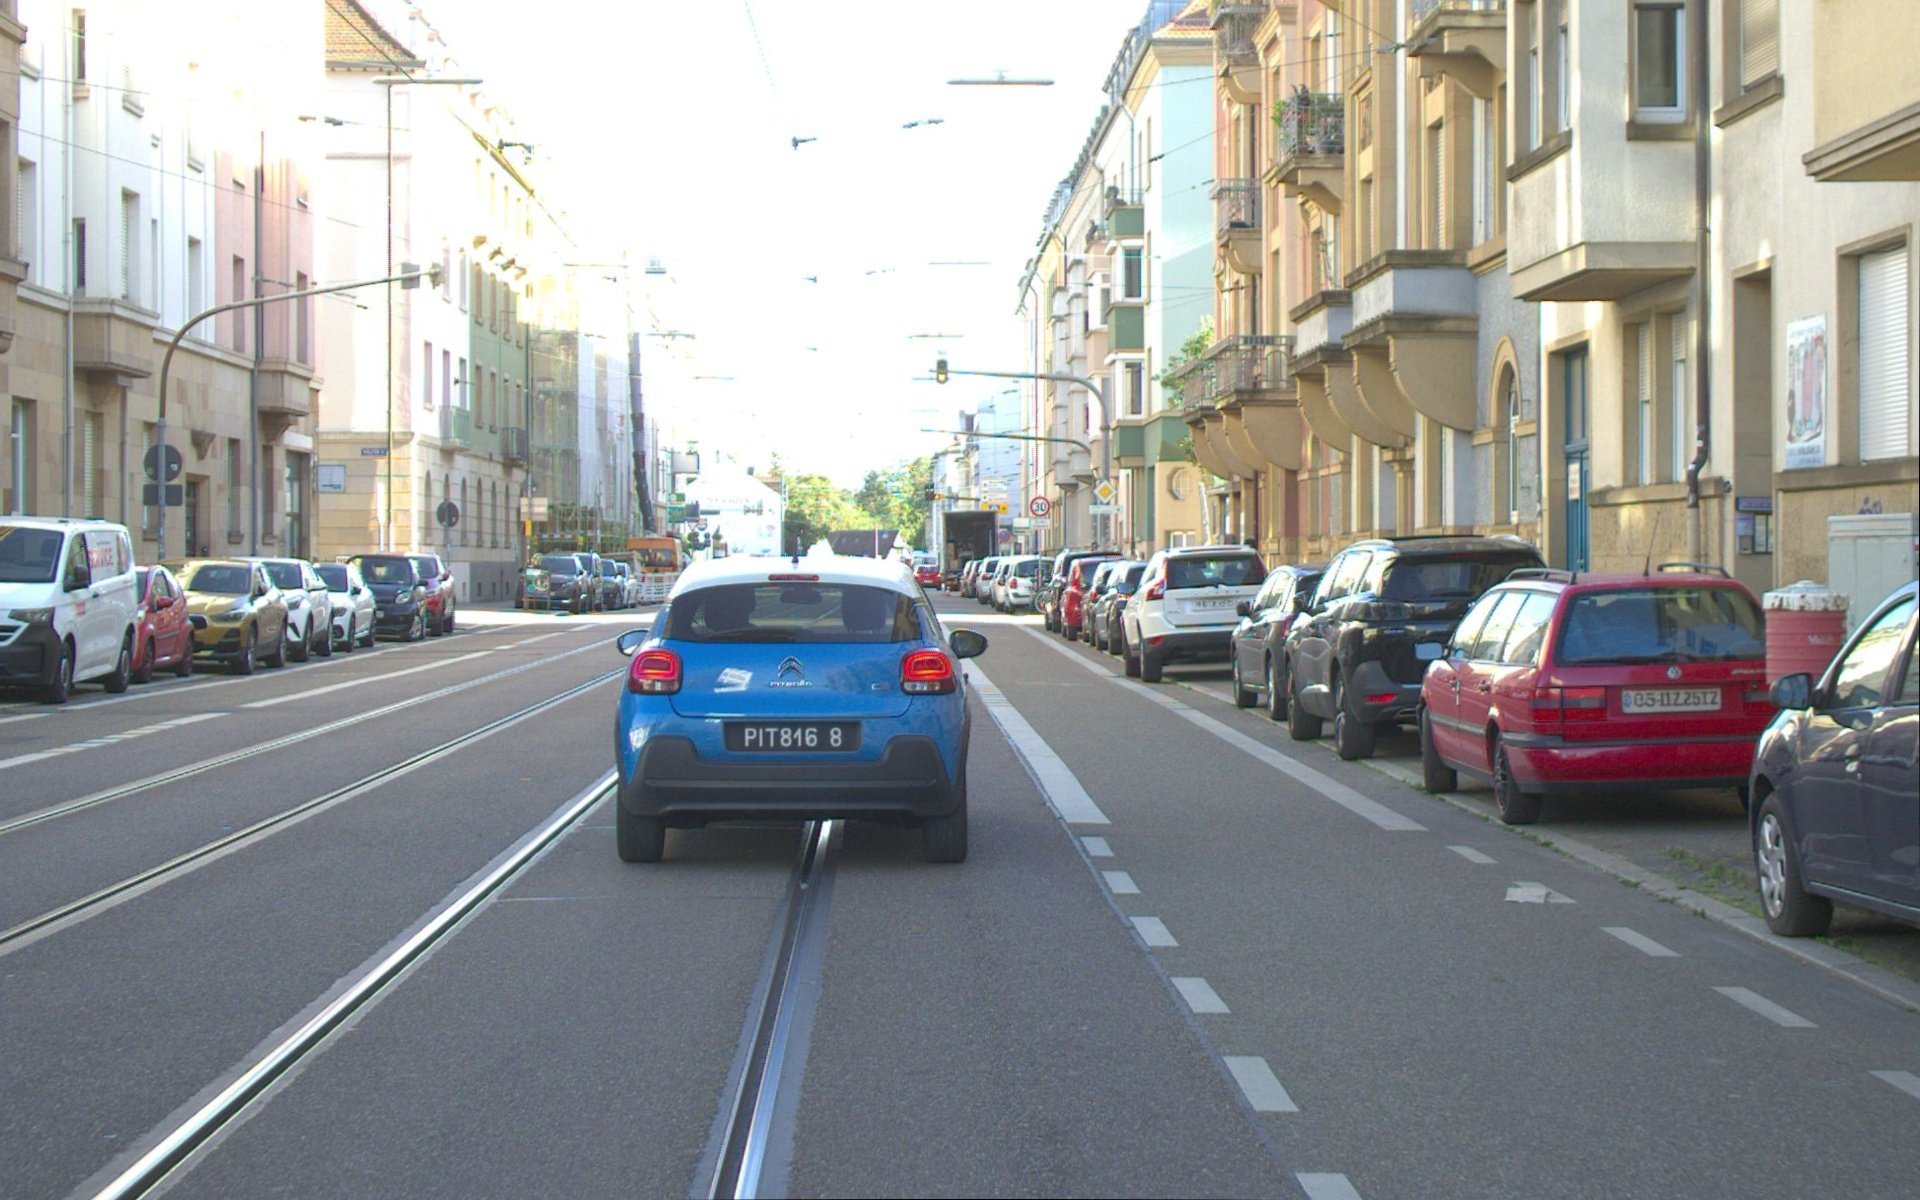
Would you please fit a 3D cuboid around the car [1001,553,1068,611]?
[{"bbox_3d":[2.120,-0.537,98.894,1.783,1.626,4.000,0,1,-1],"label":"car"}]

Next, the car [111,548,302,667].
[{"bbox_3d":[-10.347,0.069,47.475,1.783,1.518,4.360,2,1,-2],"label":"car"}]

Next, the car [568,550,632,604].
[{"bbox_3d":[-11.542,-0.759,110.488,1.783,1.621,4.610,2,1,-3],"label":"car"}]

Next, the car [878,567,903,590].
[{"bbox_3d":[-5.172,-1.611,255.951,1.826,1.626,4.490,0,1,-1],"label":"car"}]

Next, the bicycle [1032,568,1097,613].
[{"bbox_3d":[2.908,-0.275,95.639,1.722,1.150,0.469,-3,1,0],"label":"bicycle"}]

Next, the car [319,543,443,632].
[{"bbox_3d":[-10.710,-0.243,63.744,1.783,1.547,3.019,2,1,-1],"label":"car"}]

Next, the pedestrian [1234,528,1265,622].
[{"bbox_3d":[5.147,-0.447,61.147,0.513,1.681,0.448,0,1,-1],"label":"pedestrian"}]

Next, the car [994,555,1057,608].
[{"bbox_3d":[1.973,-0.570,104.333,1.783,1.570,4.326,0,1,-1],"label":"car"}]

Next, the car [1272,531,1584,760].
[{"bbox_3d":[3.602,0.299,27.240,1.859,1.660,4.562,0,1,0],"label":"car"}]

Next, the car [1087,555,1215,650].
[{"bbox_3d":[3.042,0.008,55.588,1.654,1.478,4.475,0,1,-2],"label":"car"}]

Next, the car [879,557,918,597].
[{"bbox_3d":[-2.941,-1.113,164.860,1.821,1.888,4.000,1,1,-1],"label":"car"}]

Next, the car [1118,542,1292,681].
[{"bbox_3d":[3.068,0.109,43.848,1.843,1.685,4.505,0,1,-1],"label":"car"}]

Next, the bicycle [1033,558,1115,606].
[{"bbox_3d":[3.009,-0.475,91.006,2.086,1.150,0.848,-3,1,0],"label":"bicycle"}]

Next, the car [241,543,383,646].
[{"bbox_3d":[-10.877,-0.120,57.943,1.783,1.616,4.180,2,1,-3],"label":"car"}]

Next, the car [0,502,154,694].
[{"bbox_3d":[-10.343,-0.079,37.538,1.973,1.942,5.252,2,1,-2],"label":"car"}]

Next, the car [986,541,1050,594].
[{"bbox_3d":[1.938,-1.088,115.537,1.654,1.746,4.604,0,1,-5],"label":"car"}]

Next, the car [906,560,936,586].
[{"bbox_3d":[-2.309,-1.598,202.871,1.765,1.481,4.032,0,1,-1],"label":"car"}]

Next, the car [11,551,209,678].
[{"bbox_3d":[-10.586,0.149,43.028,1.602,1.467,3.646,2,1,-1],"label":"car"}]

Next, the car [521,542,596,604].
[{"bbox_3d":[-11.514,-0.781,98.778,1.783,1.684,4.668,2,1,-3],"label":"car"}]

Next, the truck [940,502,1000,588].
[{"bbox_3d":[0.487,-2.692,169.727,2.853,4.069,11.271,0,1,0],"label":"truck"}]

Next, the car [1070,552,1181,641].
[{"bbox_3d":[2.873,-0.090,60.539,1.654,1.508,4.474,0,1,-1],"label":"car"}]

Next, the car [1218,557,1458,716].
[{"bbox_3d":[3.566,0.305,33.065,1.737,1.437,4.033,0,1,-2],"label":"car"}]

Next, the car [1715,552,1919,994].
[{"bbox_3d":[4.083,0.564,12.491,1.718,1.486,4.002,-1,1,-1],"label":"car"}]

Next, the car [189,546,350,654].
[{"bbox_3d":[-10.573,-0.033,52.900,1.771,1.541,4.366,2,1,-3],"label":"car"}]

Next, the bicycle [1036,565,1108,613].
[{"bbox_3d":[2.984,-0.296,91.696,1.842,1.150,0.469,-3,1,0],"label":"bicycle"}]

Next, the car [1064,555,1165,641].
[{"bbox_3d":[2.899,-0.058,65.042,1.753,1.589,3.730,0,1,0],"label":"car"}]

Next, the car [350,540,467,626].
[{"bbox_3d":[-10.886,-0.362,68.059,1.783,1.601,4.398,2,1,-3],"label":"car"}]

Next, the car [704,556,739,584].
[{"bbox_3d":[-13.861,-1.758,200.145,1.826,1.626,3.905,0,1,-1],"label":"car"}]

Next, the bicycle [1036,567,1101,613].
[{"bbox_3d":[2.986,-0.275,94.783,1.722,1.150,0.469,-3,1,0],"label":"bicycle"}]

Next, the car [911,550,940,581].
[{"bbox_3d":[-2.645,-2.632,261.884,2.220,2.276,4.084,0,1,-1],"label":"car"}]

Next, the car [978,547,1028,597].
[{"bbox_3d":[1.573,-1.062,127.922,1.730,1.821,4.687,0,1,-1],"label":"car"}]

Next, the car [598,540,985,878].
[{"bbox_3d":[-0.807,0.476,17.851,1.735,1.502,3.993,2,1,-1],"label":"car"}]

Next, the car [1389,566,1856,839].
[{"bbox_3d":[3.864,0.528,20.876,1.859,1.450,4.710,0,1,-1],"label":"car"}]

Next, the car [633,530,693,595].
[{"bbox_3d":[-11.552,-1.456,133.902,2.144,2.467,4.981,0,1,-3],"label":"car"}]
